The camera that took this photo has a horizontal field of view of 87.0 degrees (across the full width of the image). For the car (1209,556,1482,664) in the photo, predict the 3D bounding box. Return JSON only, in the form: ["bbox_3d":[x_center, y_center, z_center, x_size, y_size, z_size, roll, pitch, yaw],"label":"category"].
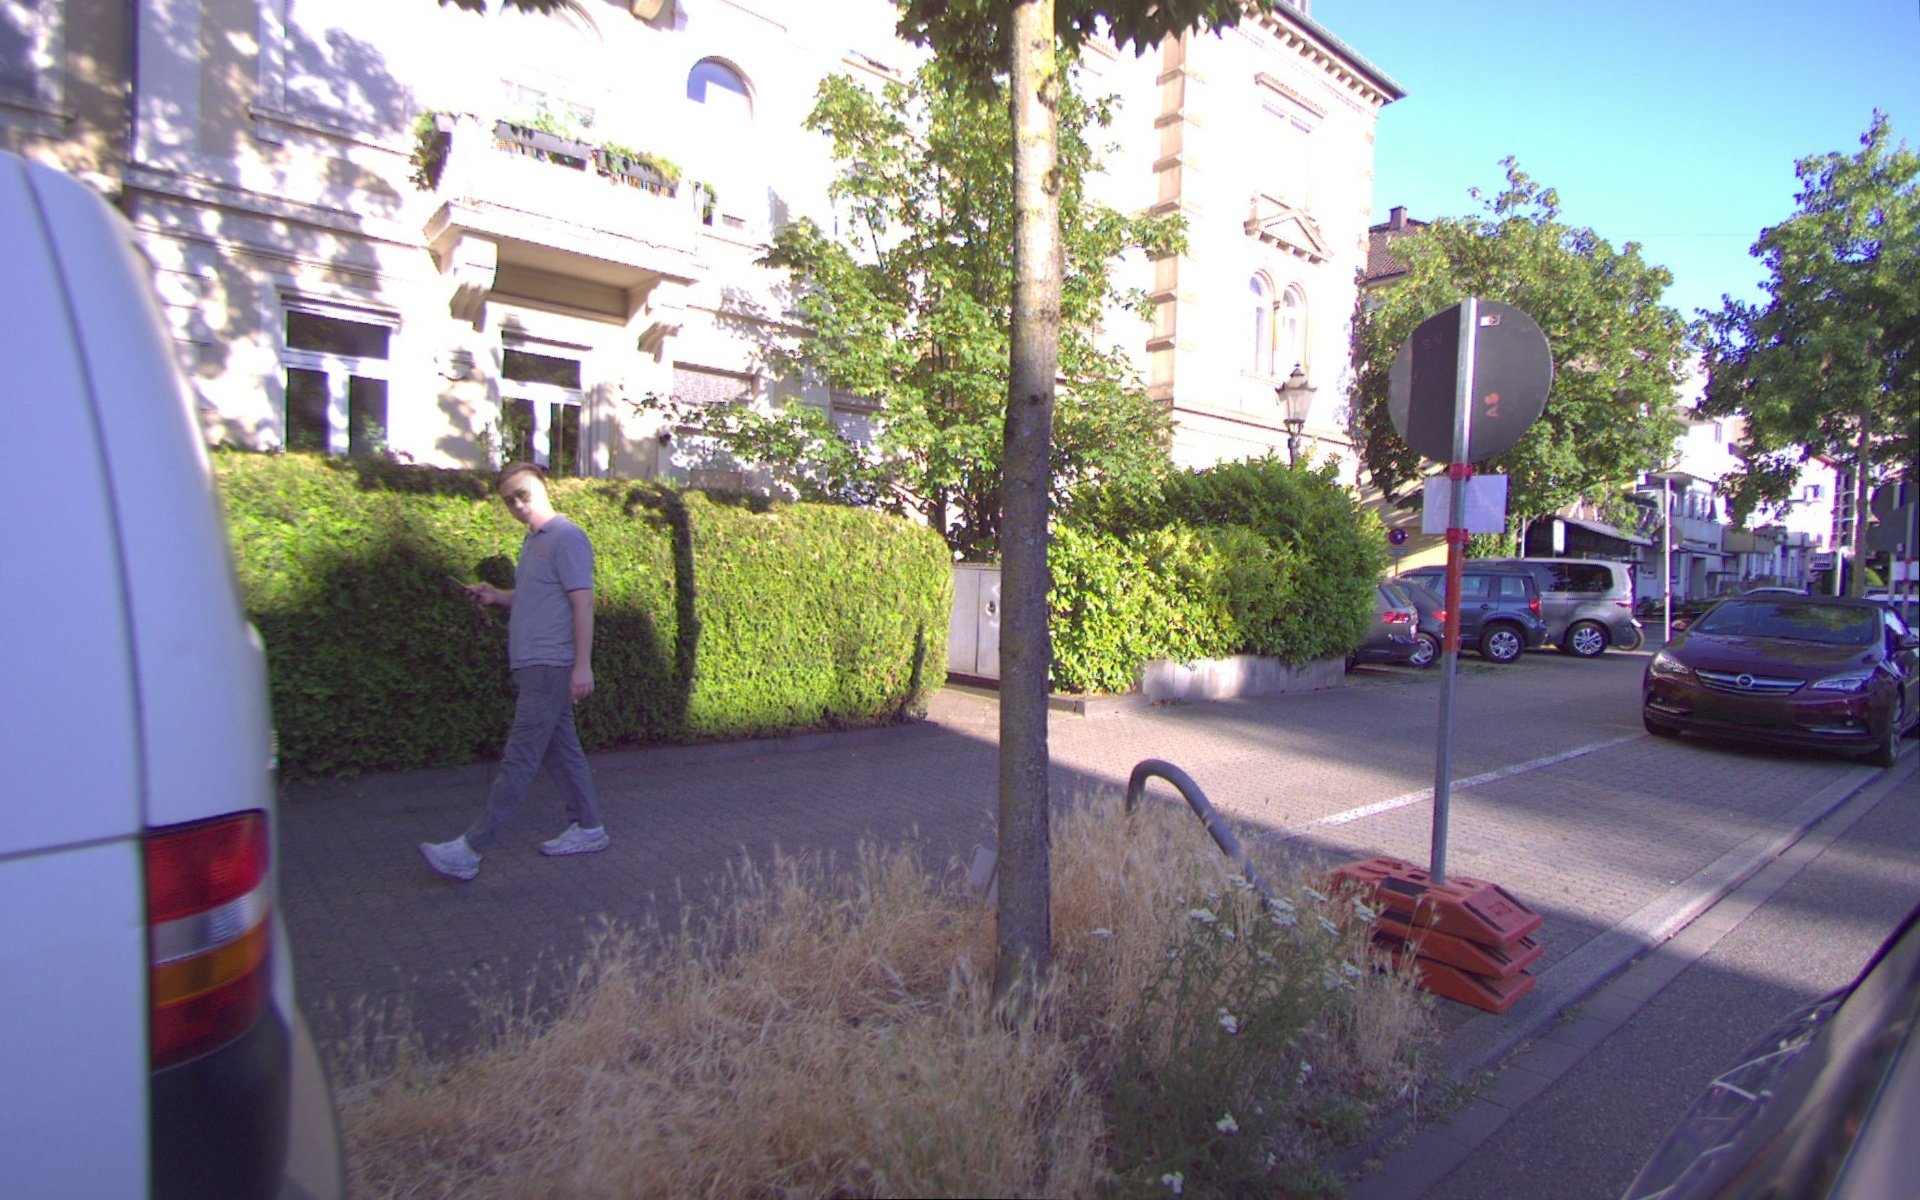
[{"bbox_3d":[6.461,0.092,17.080,4.061,1.458,1.701,4,3,27],"label":"car"}]

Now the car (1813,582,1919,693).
[{"bbox_3d":[14.706,0.505,15.446,4.540,1.496,1.825,0,2,-40],"label":"car"}]

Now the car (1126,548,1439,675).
[{"bbox_3d":[4.866,0.085,15.468,4.220,1.529,1.772,5,3,32],"label":"car"}]

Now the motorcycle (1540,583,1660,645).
[{"bbox_3d":[14.196,0.288,22.475,2.153,1.255,0.778,3,2,40],"label":"motorcycle"}]

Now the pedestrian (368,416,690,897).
[{"bbox_3d":[-1.882,0.194,4.446,1.071,1.795,0.821,0,2,-44],"label":"pedestrian"}]

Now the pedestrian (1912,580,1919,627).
[{"bbox_3d":[37.255,0.132,39.074,0.552,1.794,0.619,1,1,-40],"label":"pedestrian"}]

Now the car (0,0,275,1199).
[{"bbox_3d":[-3.077,0.326,0.295,4.562,2.129,1.906,0,2,-42],"label":"car"}]

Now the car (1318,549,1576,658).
[{"bbox_3d":[8.776,-0.002,18.658,4.050,1.720,1.776,3,2,21],"label":"car"}]

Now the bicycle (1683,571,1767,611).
[{"bbox_3d":[29.659,-0.381,39.268,0.912,1.459,2.457,0,2,-42],"label":"bicycle"}]

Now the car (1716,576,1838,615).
[{"bbox_3d":[34.537,-0.222,42.840,1.550,1.523,3.869,0,3,-45],"label":"car"}]

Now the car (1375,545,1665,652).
[{"bbox_3d":[11.130,-0.097,20.587,4.881,1.923,1.907,2,2,22],"label":"car"}]

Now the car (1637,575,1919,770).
[{"bbox_3d":[8.549,0.544,10.126,4.534,1.437,1.761,0,4,-41],"label":"car"}]
